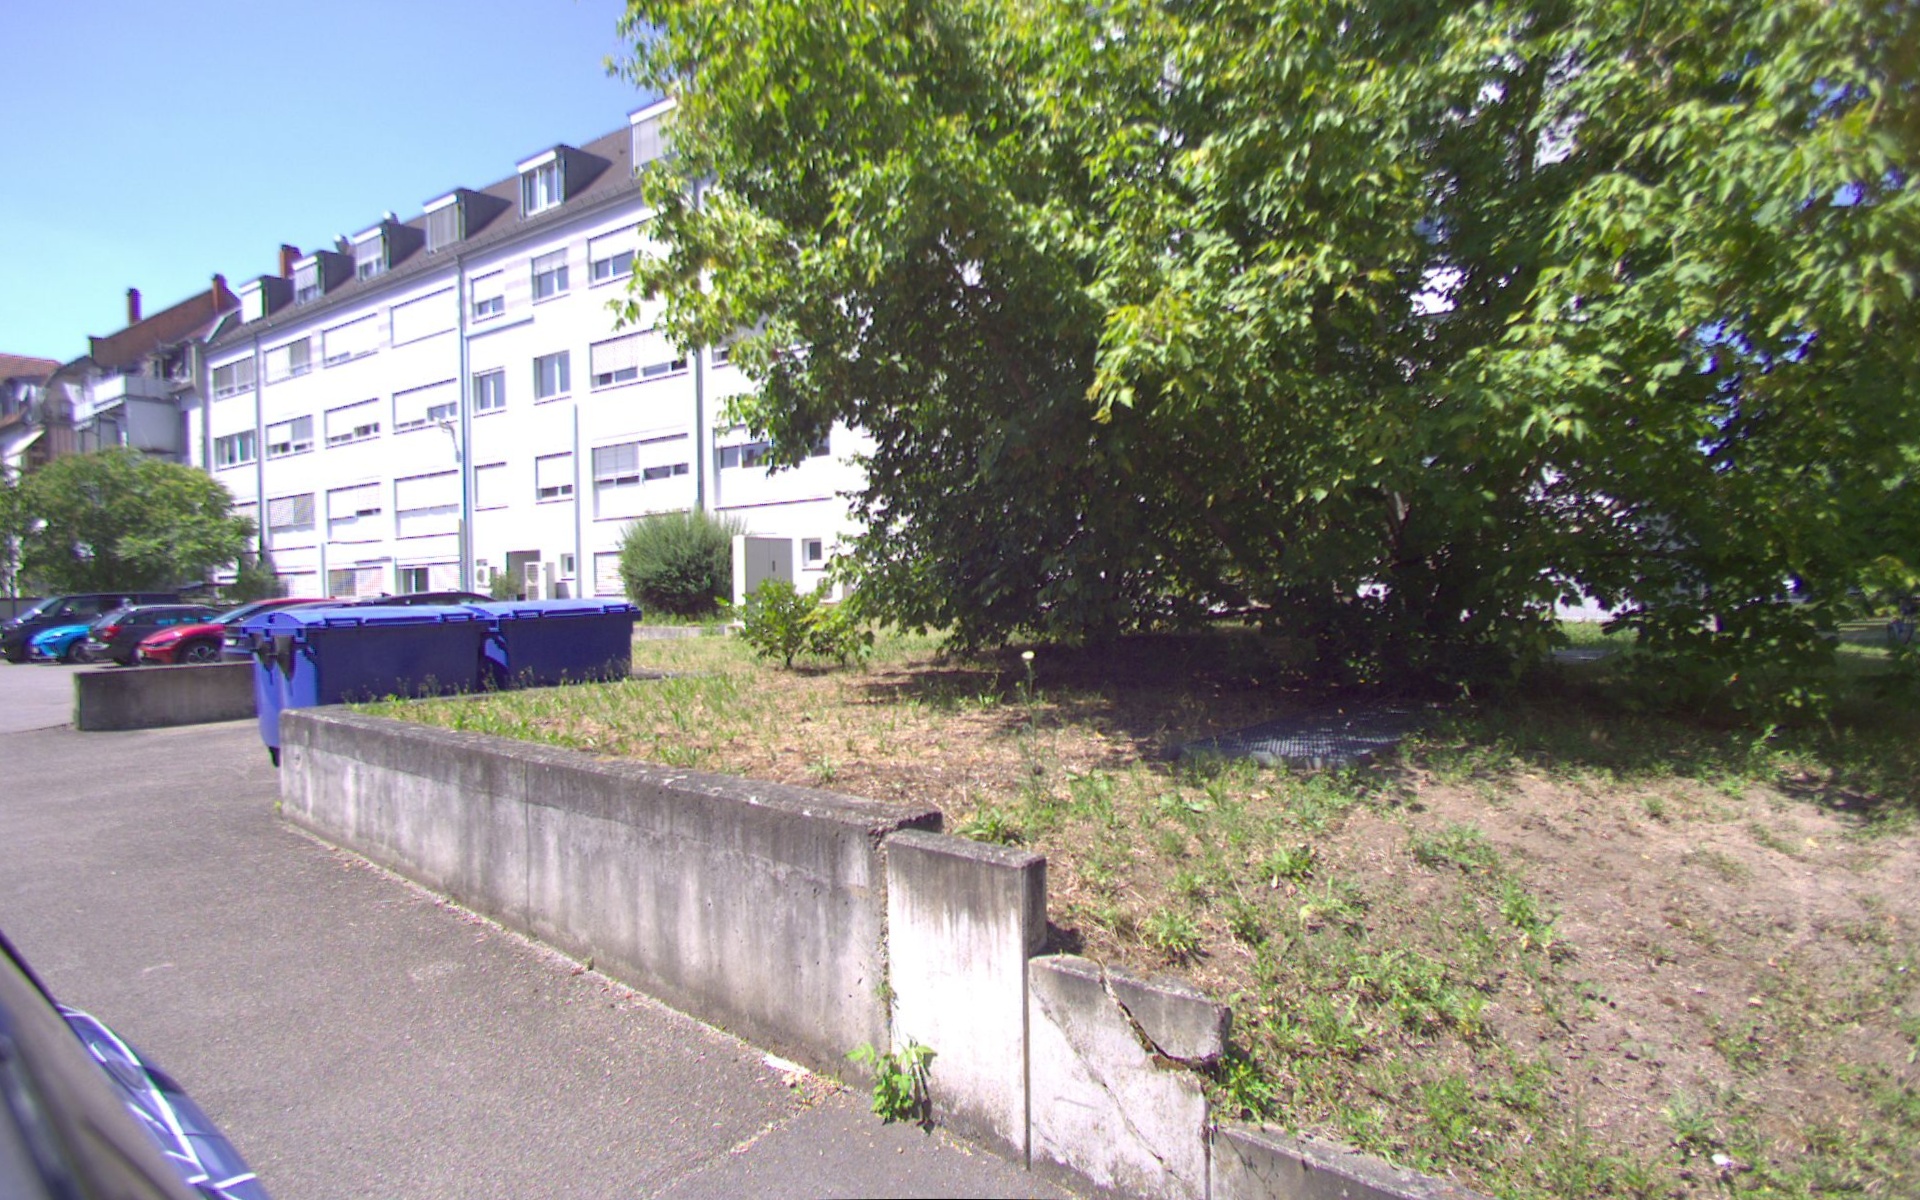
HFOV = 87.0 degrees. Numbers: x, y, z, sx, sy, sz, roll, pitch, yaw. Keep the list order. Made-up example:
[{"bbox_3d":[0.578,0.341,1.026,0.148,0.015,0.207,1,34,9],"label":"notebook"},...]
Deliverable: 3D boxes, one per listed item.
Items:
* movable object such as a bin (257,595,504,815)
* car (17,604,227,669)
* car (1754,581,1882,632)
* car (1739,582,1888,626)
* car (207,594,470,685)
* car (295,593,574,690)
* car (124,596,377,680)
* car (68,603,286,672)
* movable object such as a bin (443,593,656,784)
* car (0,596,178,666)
[{"bbox_3d":[-4.162,0.668,7.294,1.095,1.399,1.255,0,0,41],"label":"movable object such as a bin"},{"bbox_3d":[-22.788,0.931,27.676,1.610,1.580,4.175,0,1,35],"label":"car"},{"bbox_3d":[35.503,0.253,42.032,3.995,2.029,1.974,0,1,39],"label":"car"},{"bbox_3d":[32.973,0.153,39.291,4.336,1.622,1.909,0,1,39],"label":"car"},{"bbox_3d":[-12.197,0.686,20.114,1.610,1.580,4.175,0,1,35],"label":"car"},{"bbox_3d":[-9.651,0.672,18.938,1.610,1.580,4.394,0,1,35],"label":"car"},{"bbox_3d":[-15.113,0.733,21.781,1.610,1.580,4.175,0,1,35],"label":"car"},{"bbox_3d":[-20.088,0.900,26.136,1.610,1.580,4.175,0,1,35],"label":"car"},{"bbox_3d":[-3.352,0.652,8.289,1.095,1.399,1.255,0,0,41],"label":"movable object such as a bin"},{"bbox_3d":[-25.403,0.815,29.129,2.005,1.837,4.175,0,1,35],"label":"car"}]
